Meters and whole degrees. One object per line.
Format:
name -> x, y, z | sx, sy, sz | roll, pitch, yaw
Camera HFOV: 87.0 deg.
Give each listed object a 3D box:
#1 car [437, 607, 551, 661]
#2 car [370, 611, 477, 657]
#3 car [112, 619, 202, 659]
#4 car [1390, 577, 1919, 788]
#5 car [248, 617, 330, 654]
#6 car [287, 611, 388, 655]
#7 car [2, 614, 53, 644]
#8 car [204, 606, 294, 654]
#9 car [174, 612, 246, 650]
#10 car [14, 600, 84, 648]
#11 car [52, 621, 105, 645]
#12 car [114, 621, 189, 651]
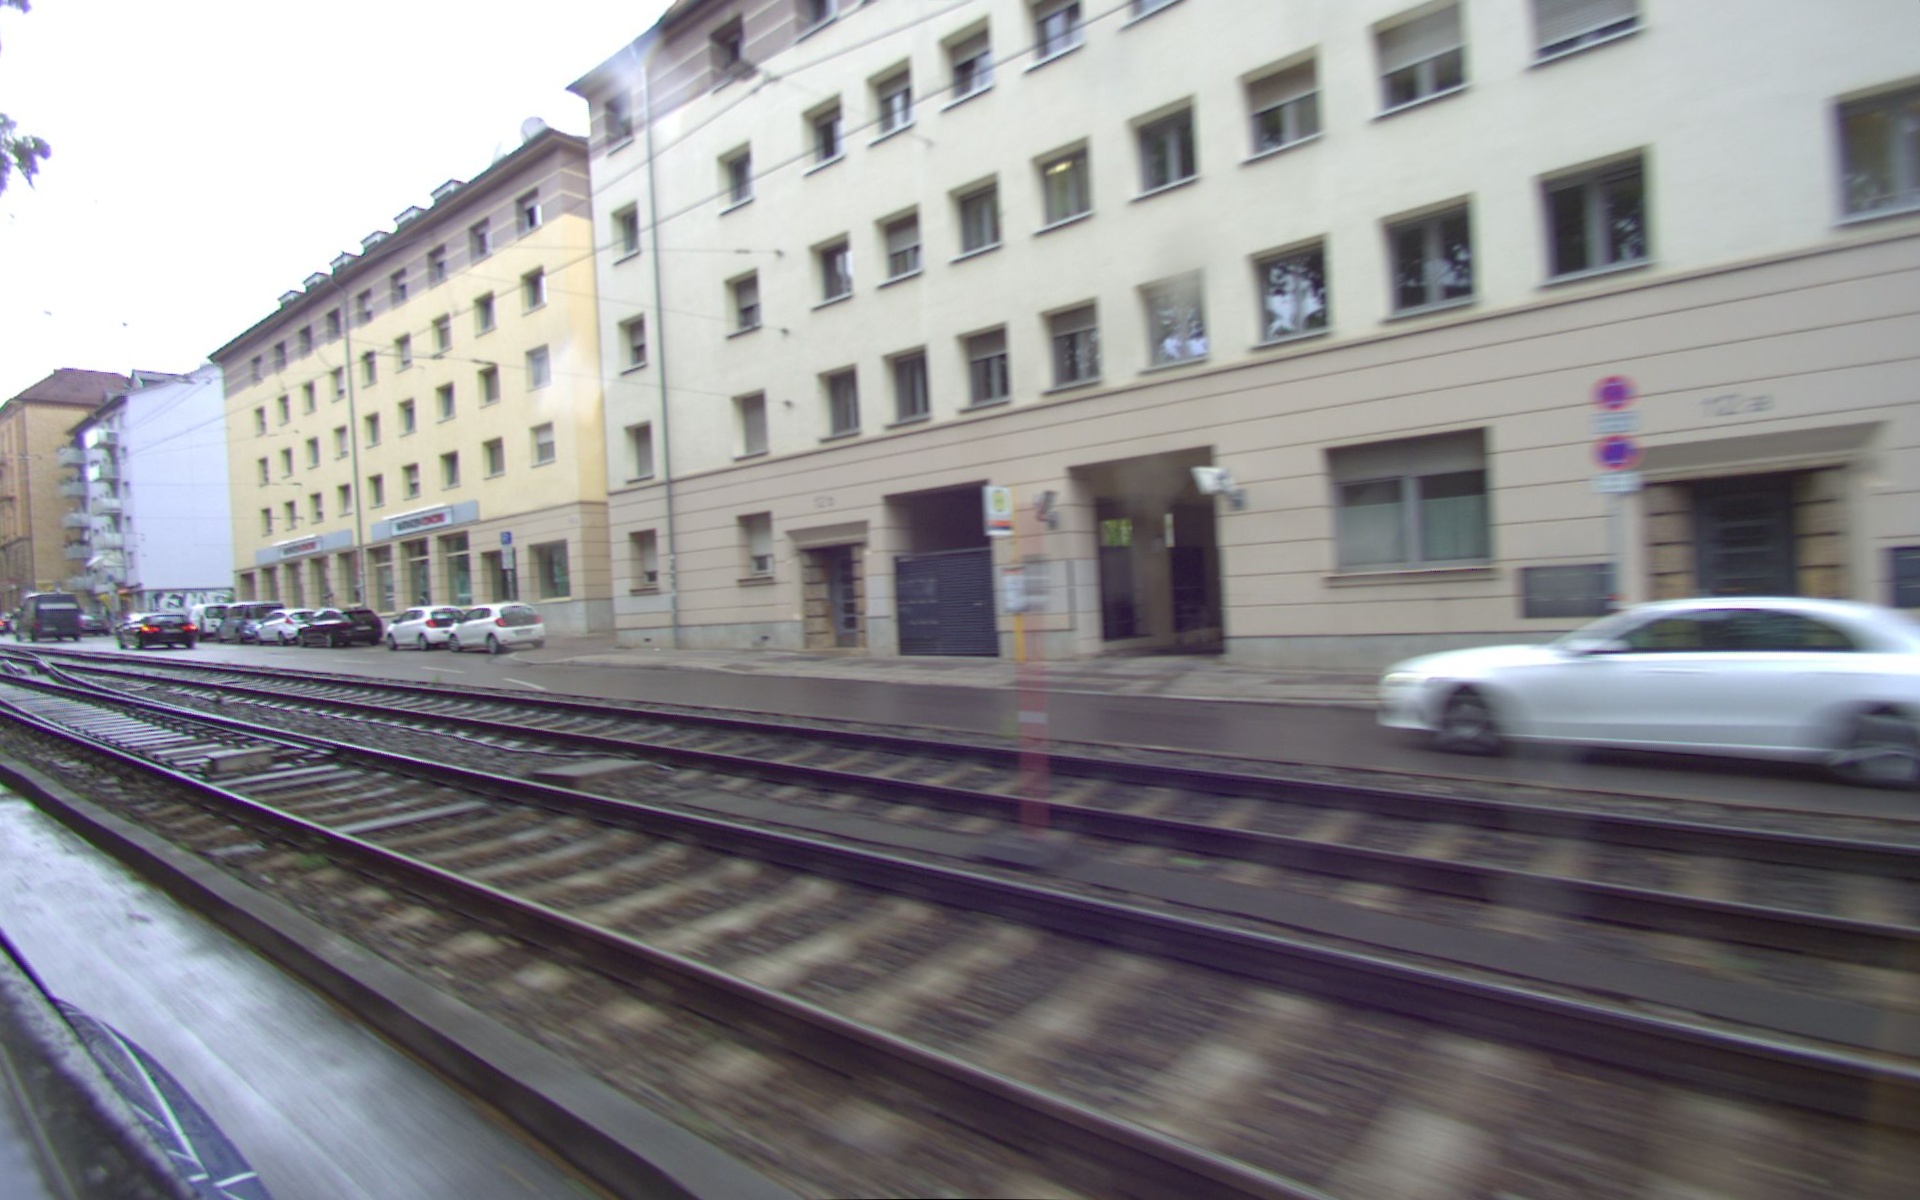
car -> -14.496, 1.028, 31.462 | 3.535, 1.460, 1.693 | -1, 3, 37
car -> -18.362, 1.147, 34.571 | 3.929, 1.407, 1.688 | -2, 1, 37
car -> -32.522, 1.546, 40.946 | 4.849, 1.497, 1.861 | -1, 0, 39
car -> 6.489, 0.589, 8.684 | 4.835, 1.493, 1.781 | -1, 1, 40
car -> -28.006, 1.480, 42.208 | 4.043, 1.450, 1.675 | -1, -3, 38
car -> -23.784, 1.242, 38.615 | 4.577, 1.510, 1.796 | -2, 2, 39
car -> -71.445, 2.247, 77.515 | 5.295, 2.023, 2.050 | -2, 3, 39
car -> -32.016, 1.319, 45.512 | 5.457, 1.919, 1.973 | -1, 3, 41
car -> -36.614, 1.477, 49.375 | 4.457, 1.730, 1.848 | -1, 1, 41
car -> -50.030, 1.279, 55.533 | 5.993, 2.470, 1.974 | 0, 1, 40
car -> -55.984, 2.079, 64.222 | 4.615, 1.406, 1.664 | -1, 1, 38
car -> -44.642, 1.964, 55.837 | 4.978, 1.519, 1.836 | -1, 1, 34
